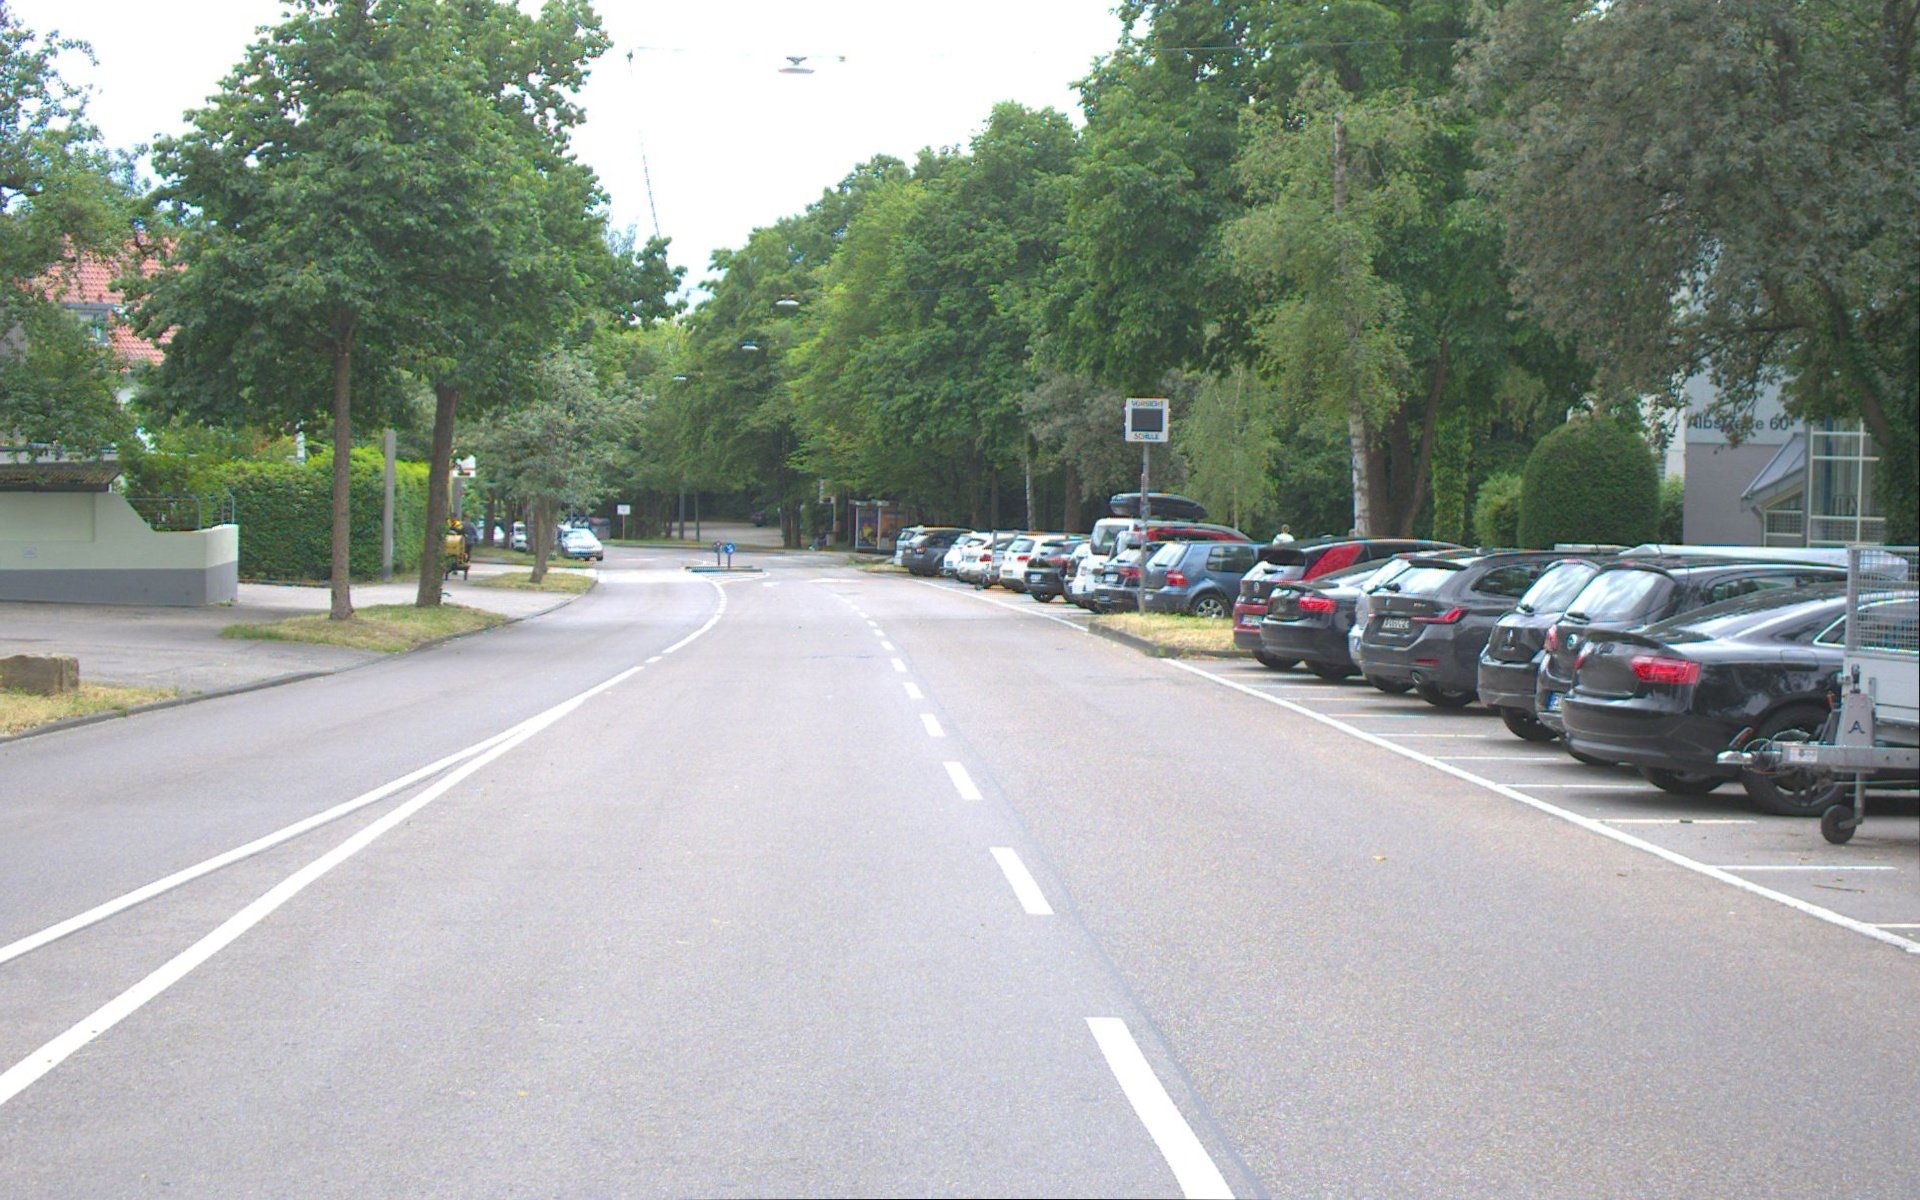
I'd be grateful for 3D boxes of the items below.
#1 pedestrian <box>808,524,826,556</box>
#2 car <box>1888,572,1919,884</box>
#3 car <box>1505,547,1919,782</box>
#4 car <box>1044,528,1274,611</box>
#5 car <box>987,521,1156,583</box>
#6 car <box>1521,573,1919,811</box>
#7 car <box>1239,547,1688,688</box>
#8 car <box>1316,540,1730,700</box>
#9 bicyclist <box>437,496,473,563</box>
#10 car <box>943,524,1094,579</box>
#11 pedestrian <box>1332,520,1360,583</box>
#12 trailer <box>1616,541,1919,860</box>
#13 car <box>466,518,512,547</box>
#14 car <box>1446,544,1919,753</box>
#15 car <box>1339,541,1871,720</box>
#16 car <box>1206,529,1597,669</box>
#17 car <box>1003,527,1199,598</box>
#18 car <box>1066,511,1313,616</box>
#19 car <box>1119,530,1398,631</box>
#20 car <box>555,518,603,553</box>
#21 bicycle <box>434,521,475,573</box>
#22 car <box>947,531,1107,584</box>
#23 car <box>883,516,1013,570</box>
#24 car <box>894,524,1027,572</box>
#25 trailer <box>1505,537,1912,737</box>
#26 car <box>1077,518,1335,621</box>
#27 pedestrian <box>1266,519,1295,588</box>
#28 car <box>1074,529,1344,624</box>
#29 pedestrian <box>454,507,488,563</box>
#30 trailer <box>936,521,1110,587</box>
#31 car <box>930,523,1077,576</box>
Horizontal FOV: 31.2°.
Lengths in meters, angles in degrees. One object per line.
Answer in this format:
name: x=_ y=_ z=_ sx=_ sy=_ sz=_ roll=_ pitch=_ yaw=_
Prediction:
pedestrian: x=-6.983 y=-2.911 z=167.727 sx=0.741 sy=1.564 sz=0.651 roll=1 pitch=1 yaw=9
car: x=6.247 y=0.645 z=15.871 sx=3.423 sy=1.440 sz=1.560 roll=1 pitch=1 yaw=-14
car: x=5.899 y=0.443 z=23.575 sx=3.910 sy=1.481 sz=1.619 roll=1 pitch=1 yaw=-17
car: x=3.839 y=-0.589 z=66.445 sx=3.965 sy=1.444 sz=1.919 roll=2 pitch=1 yaw=-17
car: x=2.823 y=-1.214 z=87.197 sx=3.883 sy=1.444 sz=1.744 roll=1 pitch=1 yaw=-23
car: x=5.591 y=0.555 z=20.727 sx=4.036 sy=1.323 sz=1.560 roll=1 pitch=1 yaw=-10
car: x=5.292 y=0.179 z=36.244 sx=4.311 sy=1.336 sz=1.734 roll=1 pitch=1 yaw=-15
car: x=5.497 y=0.191 z=33.678 sx=3.609 sy=1.440 sz=1.635 roll=1 pitch=1 yaw=-17
bicyclist: x=-13.020 y=-1.828 z=88.636 sx=0.844 sy=1.691 sz=0.714 roll=1 pitch=2 yaw=-5
car: x=1.666 y=-1.381 z=97.817 sx=3.883 sy=1.424 sz=1.744 roll=1 pitch=1 yaw=-21
pedestrian: x=9.791 y=-1.230 z=87.184 sx=0.649 sy=1.598 sz=0.743 roll=1 pitch=1 yaw=3
trailer: x=5.544 y=0.534 z=18.119 sx=3.687 sy=1.529 sz=1.646 roll=2 pitch=1 yaw=-13
car: x=-24.637 y=-3.524 z=179.831 sx=1.866 sy=1.466 sz=4.001 roll=0 pitch=1 yaw=-15
car: x=5.821 y=0.363 z=26.138 sx=3.839 sy=1.450 sz=1.635 roll=1 pitch=1 yaw=-13
car: x=5.736 y=0.267 z=30.657 sx=4.343 sy=1.440 sz=1.635 roll=1 pitch=2 yaw=-16
car: x=5.017 y=-0.008 z=39.079 sx=4.070 sy=1.510 sz=1.734 roll=1 pitch=1 yaw=-24
car: x=3.111 y=-0.830 z=76.000 sx=3.884 sy=1.444 sz=1.845 roll=1 pitch=1 yaw=-25
car: x=4.179 y=-0.666 z=62.527 sx=4.085 sy=1.748 sz=1.787 roll=1 pitch=1 yaw=-28
car: x=4.685 y=-0.310 z=54.100 sx=3.963 sy=1.400 sz=1.757 roll=2 pitch=1 yaw=-16
car: x=-16.839 y=-2.857 z=151.821 sx=1.866 sy=1.466 sz=4.001 roll=0 pitch=1 yaw=-9
bicycle: x=-13.039 y=-1.385 z=88.768 sx=0.844 sy=1.262 sz=2.652 roll=1 pitch=2 yaw=-5
car: x=1.792 y=-1.145 z=92.034 sx=3.884 sy=1.305 sz=1.744 roll=1 pitch=1 yaw=-26
car: x=-0.397 y=-1.882 z=113.118 sx=3.883 sy=1.662 sz=1.744 roll=1 pitch=1 yaw=-21
car: x=0.007 y=-1.668 z=110.345 sx=3.883 sy=1.424 sz=1.744 roll=1 pitch=1 yaw=-21
trailer: x=6.211 y=0.301 z=28.591 sx=2.985 sy=1.537 sz=1.304 roll=1 pitch=2 yaw=-14
car: x=4.257 y=-0.536 z=59.603 sx=3.995 sy=1.614 sz=1.885 roll=2 pitch=1 yaw=-18
pedestrian: x=7.839 y=-1.144 z=84.114 sx=0.649 sy=1.665 sz=0.743 roll=1 pitch=1 yaw=4
car: x=4.107 y=-0.385 z=56.687 sx=4.026 sy=1.400 sz=1.757 roll=2 pitch=1 yaw=-20
pedestrian: x=-15.281 y=-2.035 z=107.443 sx=0.974 sy=1.724 sz=0.849 roll=1 pitch=1 yaw=-6
trailer: x=1.637 y=-1.202 z=89.338 sx=4.153 sy=1.568 sz=1.712 roll=2 pitch=1 yaw=-21
car: x=1.277 y=-1.478 z=100.380 sx=3.883 sy=1.424 sz=1.744 roll=1 pitch=1 yaw=-21
